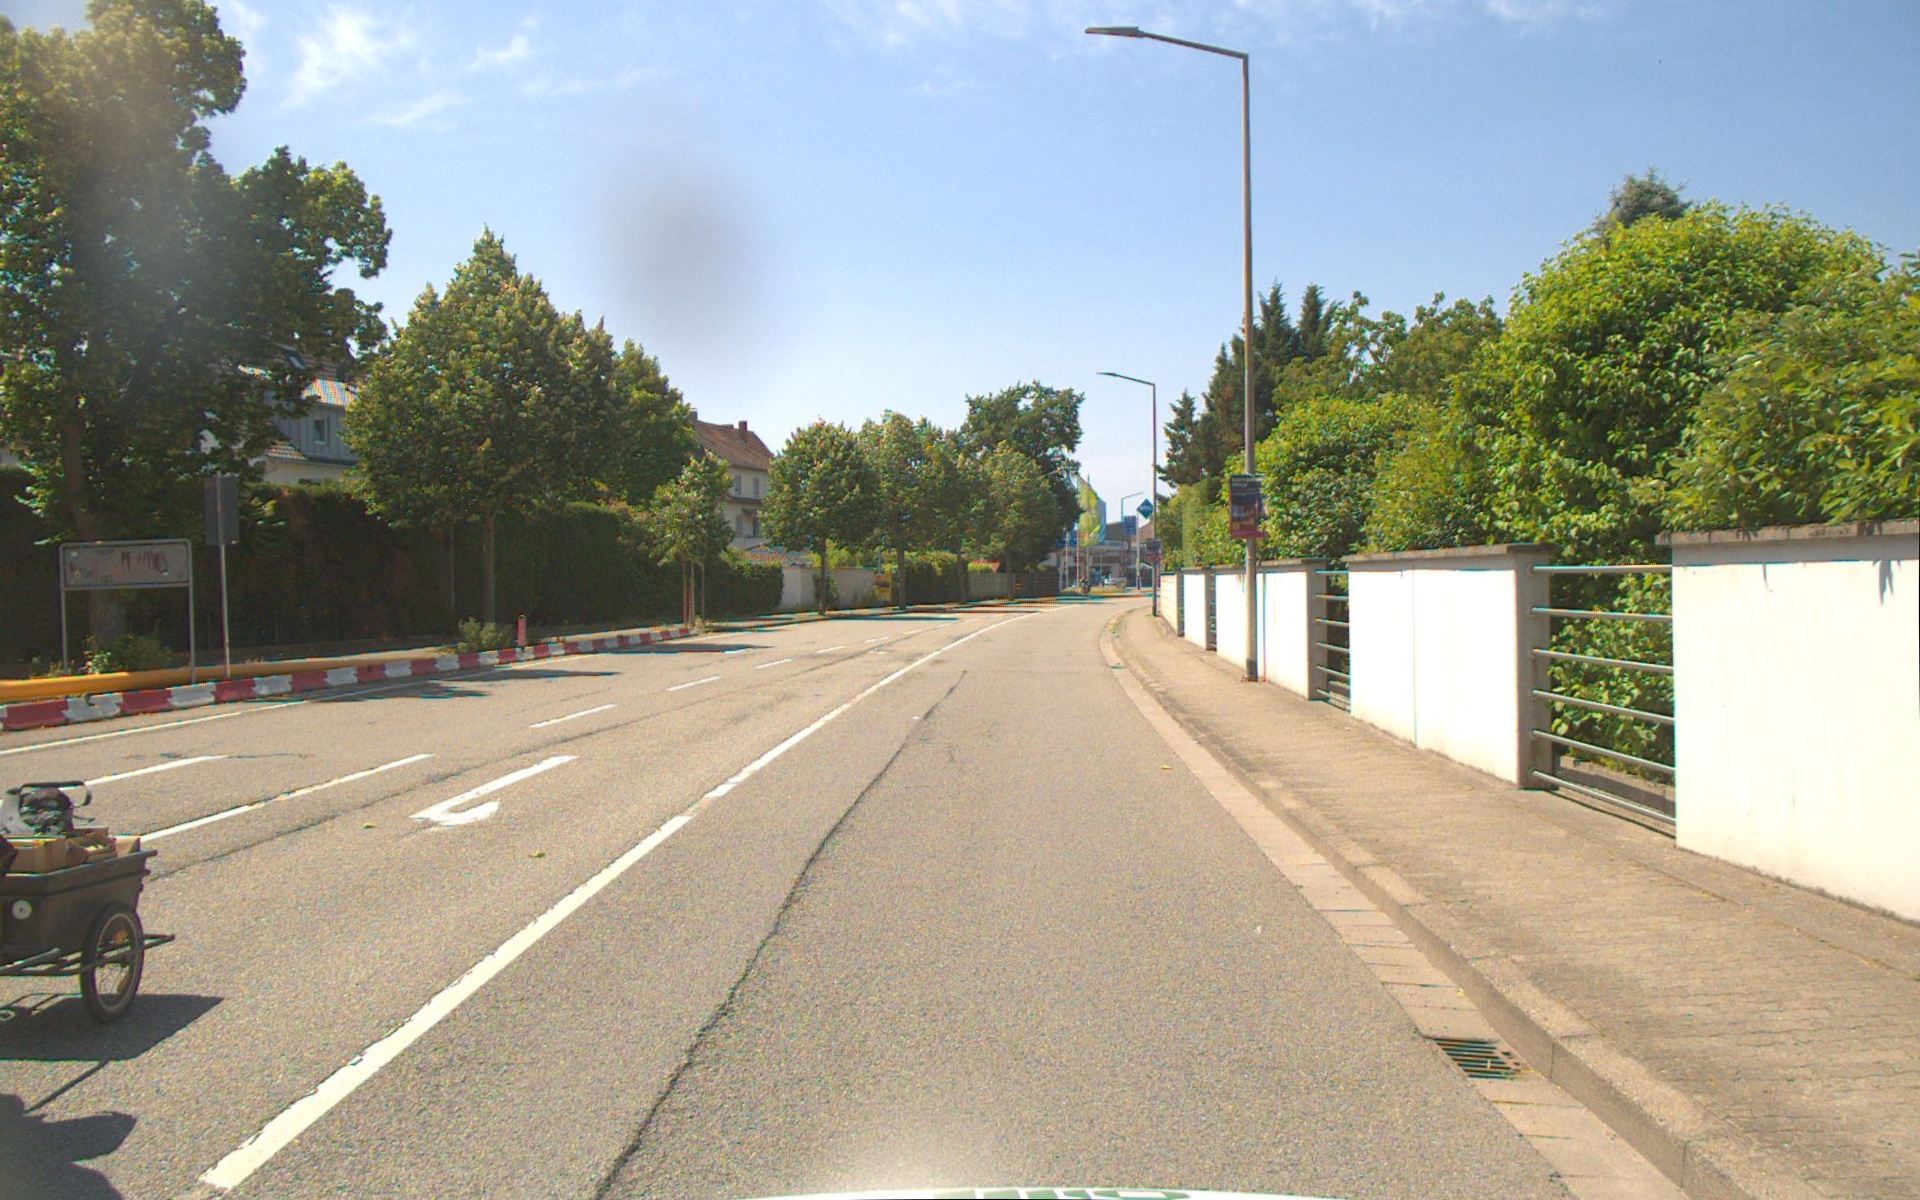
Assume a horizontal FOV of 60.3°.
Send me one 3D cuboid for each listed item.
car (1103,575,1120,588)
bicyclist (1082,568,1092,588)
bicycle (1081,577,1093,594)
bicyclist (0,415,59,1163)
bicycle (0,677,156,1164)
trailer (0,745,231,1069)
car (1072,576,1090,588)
[{"bbox_3d":[18.520,-2.273,202.409,1.582,1.445,3.715,-2,1,12],"label":"car"},{"bbox_3d":[9.331,-1.626,121.550,0.615,1.433,0.677,-1,1,12],"label":"bicyclist"},{"bbox_3d":[9.340,-1.041,121.566,0.618,1.200,1.817,-1,1,12],"label":"bicycle"},{"bbox_3d":[-2.853,0.483,3.973,0.828,1.898,0.976,0,0,0],"label":"bicyclist"},{"bbox_3d":[-2.850,0.839,4.011,0.833,1.186,1.977,0,1,0],"label":"bicycle"},{"bbox_3d":[-2.986,0.981,5.577,0.559,0.871,1.132,0,1,-1],"label":"trailer"},{"bbox_3d":[14.864,-2.237,202.738,1.582,1.445,3.715,-2,1,12],"label":"car"}]
